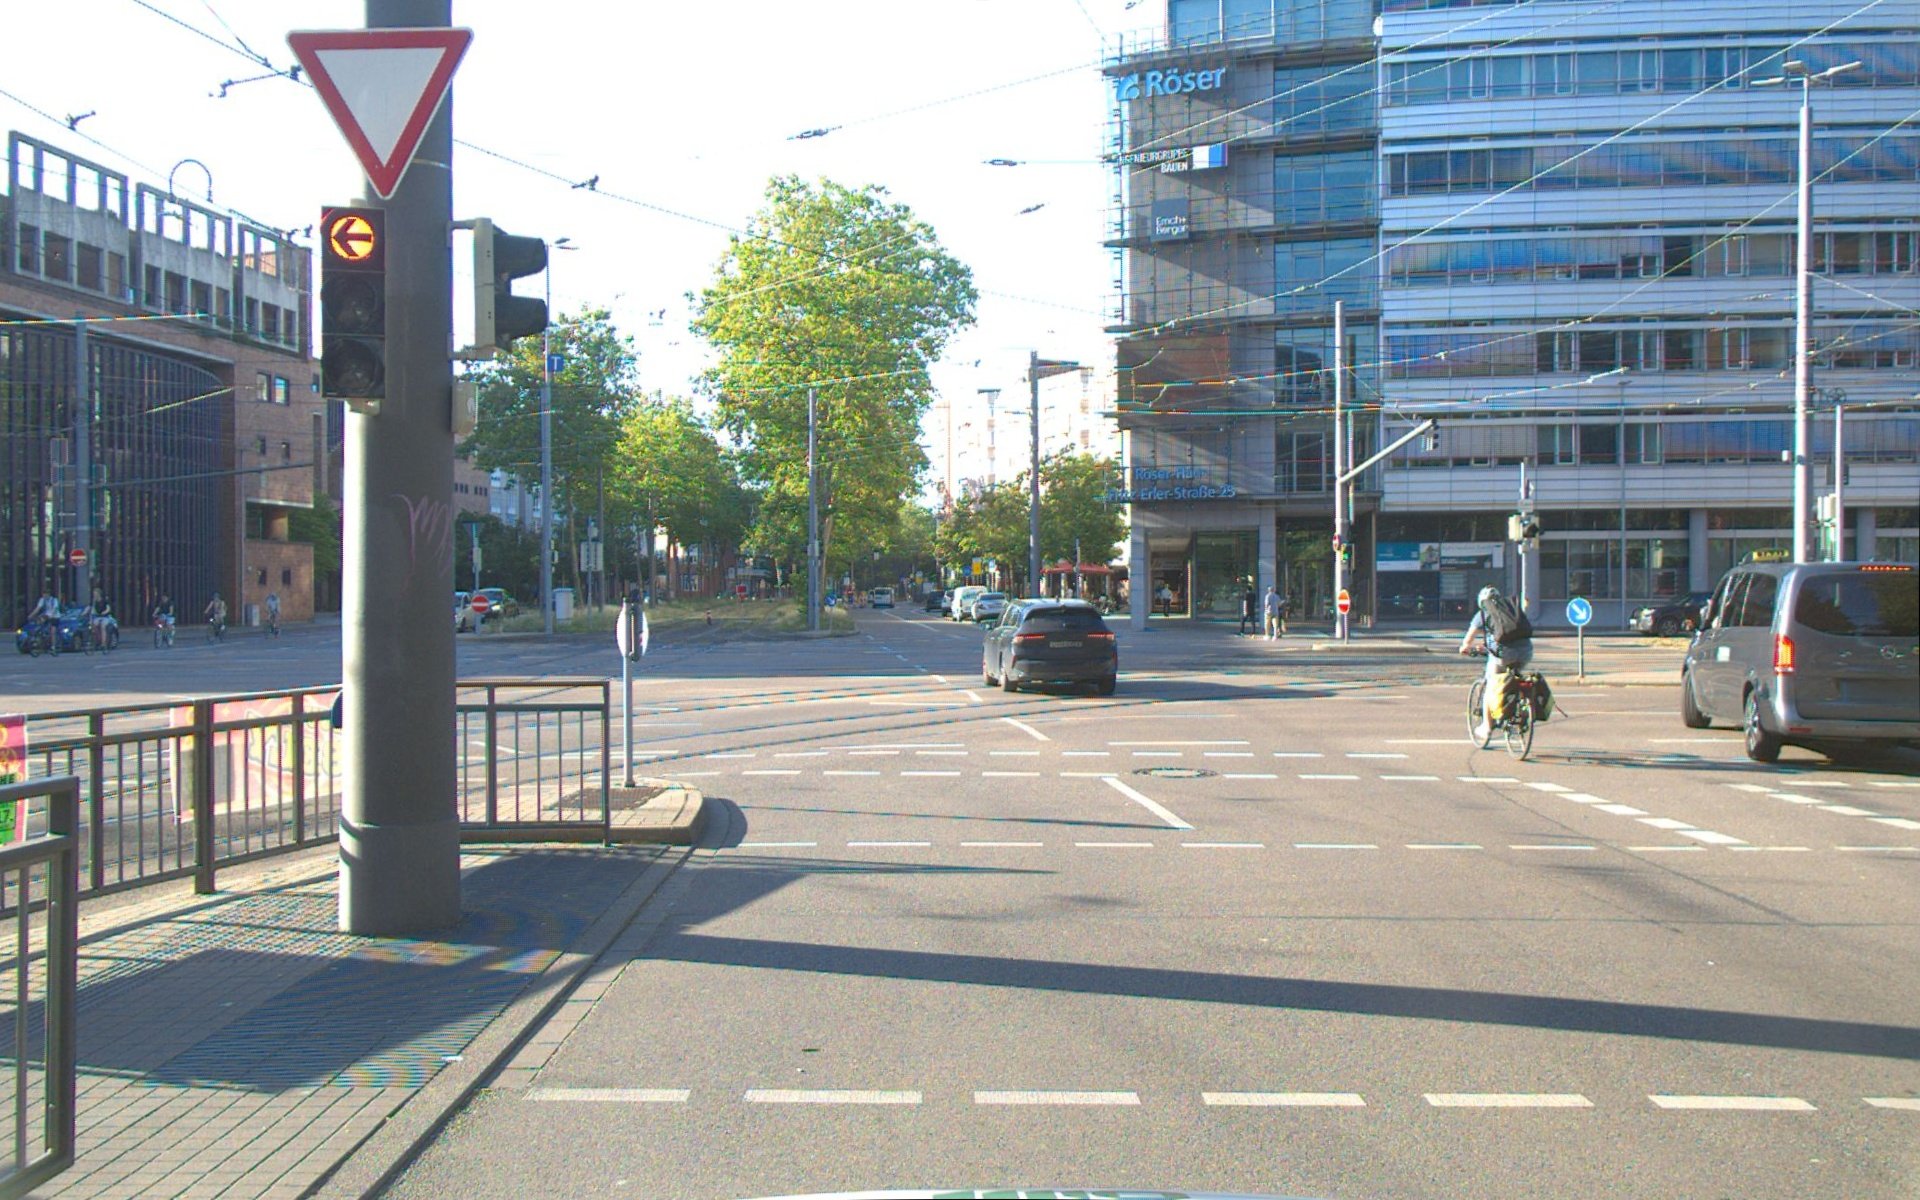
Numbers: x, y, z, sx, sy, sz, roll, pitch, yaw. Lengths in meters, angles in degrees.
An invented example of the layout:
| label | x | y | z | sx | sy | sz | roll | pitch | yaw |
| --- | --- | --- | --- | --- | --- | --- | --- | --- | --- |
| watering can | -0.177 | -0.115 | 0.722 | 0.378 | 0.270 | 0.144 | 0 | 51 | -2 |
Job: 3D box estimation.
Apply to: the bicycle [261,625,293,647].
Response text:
| label | x | y | z | sx | sy | sz | roll | pitch | yaw |
| --- | --- | --- | --- | --- | --- | --- | --- | --- | --- |
| bicycle | -26.885 | 1.420 | 65.146 | 0.578 | 0.784 | 1.966 | -1 | 0 | -5 |

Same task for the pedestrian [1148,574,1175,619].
| label | x | y | z | sx | sy | sz | roll | pitch | yaw |
| --- | --- | --- | --- | --- | --- | --- | --- | --- | --- |
| pedestrian | 10.130 | -0.152 | 83.242 | 1.285 | 2.228 | 1.171 | 1 | 0 | 5 |

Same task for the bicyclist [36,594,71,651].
| label | x | y | z | sx | sy | sz | roll | pitch | yaw |
| --- | --- | --- | --- | --- | --- | --- | --- | --- | --- |
| bicyclist | -25.851 | 0.643 | 47.156 | 0.648 | 1.602 | 0.757 | -1 | 0 | -11 |

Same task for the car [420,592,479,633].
| label | x | y | z | sx | sy | sz | roll | pitch | yaw |
| --- | --- | --- | --- | --- | --- | --- | --- | --- | --- |
| car | -20.632 | 0.475 | 66.963 | 1.591 | 1.604 | 3.994 | -1 | 0 | -7 |

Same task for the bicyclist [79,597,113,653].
| label | x | y | z | sx | sy | sz | roll | pitch | yaw |
| --- | --- | --- | --- | --- | --- | --- | --- | --- | --- |
| bicyclist | -24.868 | 0.700 | 47.628 | 0.670 | 1.587 | 0.757 | -1 | 0 | -11 |

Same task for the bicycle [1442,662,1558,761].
| label | x | y | z | sx | sy | sz | roll | pitch | yaw |
| --- | --- | --- | --- | --- | --- | --- | --- | --- | --- |
| bicycle | 5.200 | 1.052 | 16.026 | 0.481 | 0.802 | 1.861 | 1 | 1 | -1 |

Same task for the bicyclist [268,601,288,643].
| label | x | y | z | sx | sy | sz | roll | pitch | yaw |
| --- | --- | --- | --- | --- | --- | --- | --- | --- | --- |
| bicyclist | -26.898 | 0.855 | 65.228 | 0.575 | 1.654 | 0.514 | -1 | 0 | -6 |

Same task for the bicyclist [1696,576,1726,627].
| label | x | y | z | sx | sy | sz | roll | pitch | yaw |
| --- | --- | --- | --- | --- | --- | --- | --- | --- | --- |
| bicyclist | 22.615 | 0.052 | 49.802 | 0.649 | 1.529 | 0.613 | -1 | 0 | 4 |

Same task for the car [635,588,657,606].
| label | x | y | z | sx | sy | sz | roll | pitch | yaw |
| --- | --- | --- | --- | --- | --- | --- | --- | --- | --- |
| car | -28.610 | -0.243 | 150.901 | 1.644 | 1.635 | 3.994 | 1 | 0 | -7 |

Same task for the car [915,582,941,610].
| label | x | y | z | sx | sy | sz | roll | pitch | yaw |
| --- | --- | --- | --- | --- | --- | --- | --- | --- | --- |
| car | -2.456 | -0.287 | 126.612 | 1.953 | 2.049 | 3.999 | 1 | 0 | -1 |

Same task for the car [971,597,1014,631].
| label | x | y | z | sx | sy | sz | roll | pitch | yaw |
| --- | --- | --- | --- | --- | --- | --- | --- | --- | --- |
| car | 1.598 | 0.680 | 82.815 | 1.988 | 1.624 | 3.999 | 1 | 0 | -1 |

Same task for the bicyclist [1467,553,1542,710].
| label | x | y | z | sx | sy | sz | roll | pitch | yaw |
| --- | --- | --- | --- | --- | --- | --- | --- | --- | --- |
| bicyclist | 5.234 | 0.294 | 15.908 | 0.477 | 1.464 | 0.615 | 1 | 0 | -1 |

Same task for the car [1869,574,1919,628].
| label | x | y | z | sx | sy | sz | roll | pitch | yaw |
| --- | --- | --- | --- | --- | --- | --- | --- | --- | --- |
| car | 29.671 | 0.049 | 49.538 | 3.903 | 1.579 | 1.798 | 1 | 0 | 4 |

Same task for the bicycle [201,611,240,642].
| label | x | y | z | sx | sy | sz | roll | pitch | yaw |
| --- | --- | --- | --- | --- | --- | --- | --- | --- | --- |
| bicycle | -26.379 | 0.939 | 59.025 | 0.639 | 1.068 | 2.010 | 0 | 0 | -6 |

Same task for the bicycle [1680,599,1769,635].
| label | x | y | z | sx | sy | sz | roll | pitch | yaw |
| --- | --- | --- | --- | --- | --- | --- | --- | --- | --- |
| bicycle | 22.996 | 0.501 | 49.766 | 2.359 | 1.040 | 0.637 | -1 | 0 | 4 |

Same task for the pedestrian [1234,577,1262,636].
| label | x | y | z | sx | sy | sz | roll | pitch | yaw |
| --- | --- | --- | --- | --- | --- | --- | --- | --- | --- |
| pedestrian | 10.252 | 0.230 | 58.799 | 0.832 | 2.049 | 0.707 | 1 | -1 | -2 |

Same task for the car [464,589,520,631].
| label | x | y | z | sx | sy | sz | roll | pitch | yaw |
| --- | --- | --- | --- | --- | --- | --- | --- | --- | --- |
| car | -21.031 | 0.422 | 74.469 | 1.787 | 1.821 | 3.994 | -1 | 0 | -7 |

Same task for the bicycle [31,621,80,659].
| label | x | y | z | sx | sy | sz | roll | pitch | yaw |
| --- | --- | --- | --- | --- | --- | --- | --- | --- | --- |
| bicycle | -25.894 | 1.137 | 47.372 | 0.641 | 1.016 | 1.896 | -1 | 0 | -11 |

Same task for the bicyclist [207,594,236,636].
| label | x | y | z | sx | sy | sz | roll | pitch | yaw |
| --- | --- | --- | --- | --- | --- | --- | --- | --- | --- |
| bicyclist | -26.391 | 0.535 | 59.120 | 0.640 | 1.500 | 1.031 | 0 | 0 | -6 |

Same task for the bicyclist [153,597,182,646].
| label | x | y | z | sx | sy | sz | roll | pitch | yaw |
| --- | --- | --- | --- | --- | --- | --- | --- | --- | --- |
| bicyclist | -26.353 | 0.710 | 54.998 | 0.648 | 1.597 | 0.757 | -1 | 0 | -8 |

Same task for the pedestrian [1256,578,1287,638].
| label | x | y | z | sx | sy | sz | roll | pitch | yaw |
| --- | --- | --- | --- | --- | --- | --- | --- | --- | --- |
| pedestrian | 10.718 | 0.270 | 56.931 | 0.852 | 2.049 | 0.793 | 1 | -1 | -1 |

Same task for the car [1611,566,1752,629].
| label | x | y | z | sx | sy | sz | roll | pitch | yaw |
| --- | --- | --- | --- | --- | --- | --- | --- | --- | --- |
| car | 24.336 | -0.082 | 55.892 | 3.906 | 2.049 | 2.000 | 1 | 0 | -1 |

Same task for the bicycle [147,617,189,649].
| label | x | y | z | sx | sy | sz | roll | pitch | yaw |
| --- | --- | --- | --- | --- | --- | --- | --- | --- | --- |
| bicycle | -26.323 | 1.098 | 55.004 | 0.680 | 1.016 | 1.898 | -1 | 0 | -8 |

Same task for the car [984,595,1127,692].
| label | x | y | z | sx | sy | sz | roll | pitch | yaw |
| --- | --- | --- | --- | --- | --- | --- | --- | --- | --- |
| car | 1.443 | 0.641 | 26.545 | 1.729 | 1.429 | 4.292 | 0 | 0 | -5 |

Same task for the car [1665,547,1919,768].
| label | x | y | z | sx | sy | sz | roll | pitch | yaw |
| --- | --- | --- | --- | --- | --- | --- | --- | --- | --- |
| car | 8.761 | 0.485 | 16.884 | 1.958 | 1.929 | 4.887 | 0 | 1 | 12 |

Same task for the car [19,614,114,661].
| label | x | y | z | sx | sy | sz | roll | pitch | yaw |
| --- | --- | --- | --- | --- | --- | --- | --- | --- | --- |
| car | -28.693 | 1.177 | 53.195 | 1.552 | 1.400 | 3.707 | -1 | 0 | -10 |

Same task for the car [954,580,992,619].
| label | x | y | z | sx | sy | sz | roll | pitch | yaw |
| --- | --- | --- | --- | --- | --- | --- | --- | --- | --- |
| car | 0.690 | -0.001 | 89.603 | 1.953 | 2.049 | 3.999 | 1 | 0 | -1 |

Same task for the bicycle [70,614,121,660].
| label | x | y | z | sx | sy | sz | roll | pitch | yaw |
| --- | --- | --- | --- | --- | --- | --- | --- | --- | --- |
| bicycle | -24.859 | 1.049 | 47.598 | 0.672 | 1.162 | 2.106 | -1 | 2 | -10 |

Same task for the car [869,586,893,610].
| label | x | y | z | sx | sy | sz | roll | pitch | yaw |
| --- | --- | --- | --- | --- | --- | --- | --- | --- | --- |
| car | -7.289 | -0.136 | 153.294 | 1.952 | 2.049 | 3.999 | 1 | -2 | 0 |
